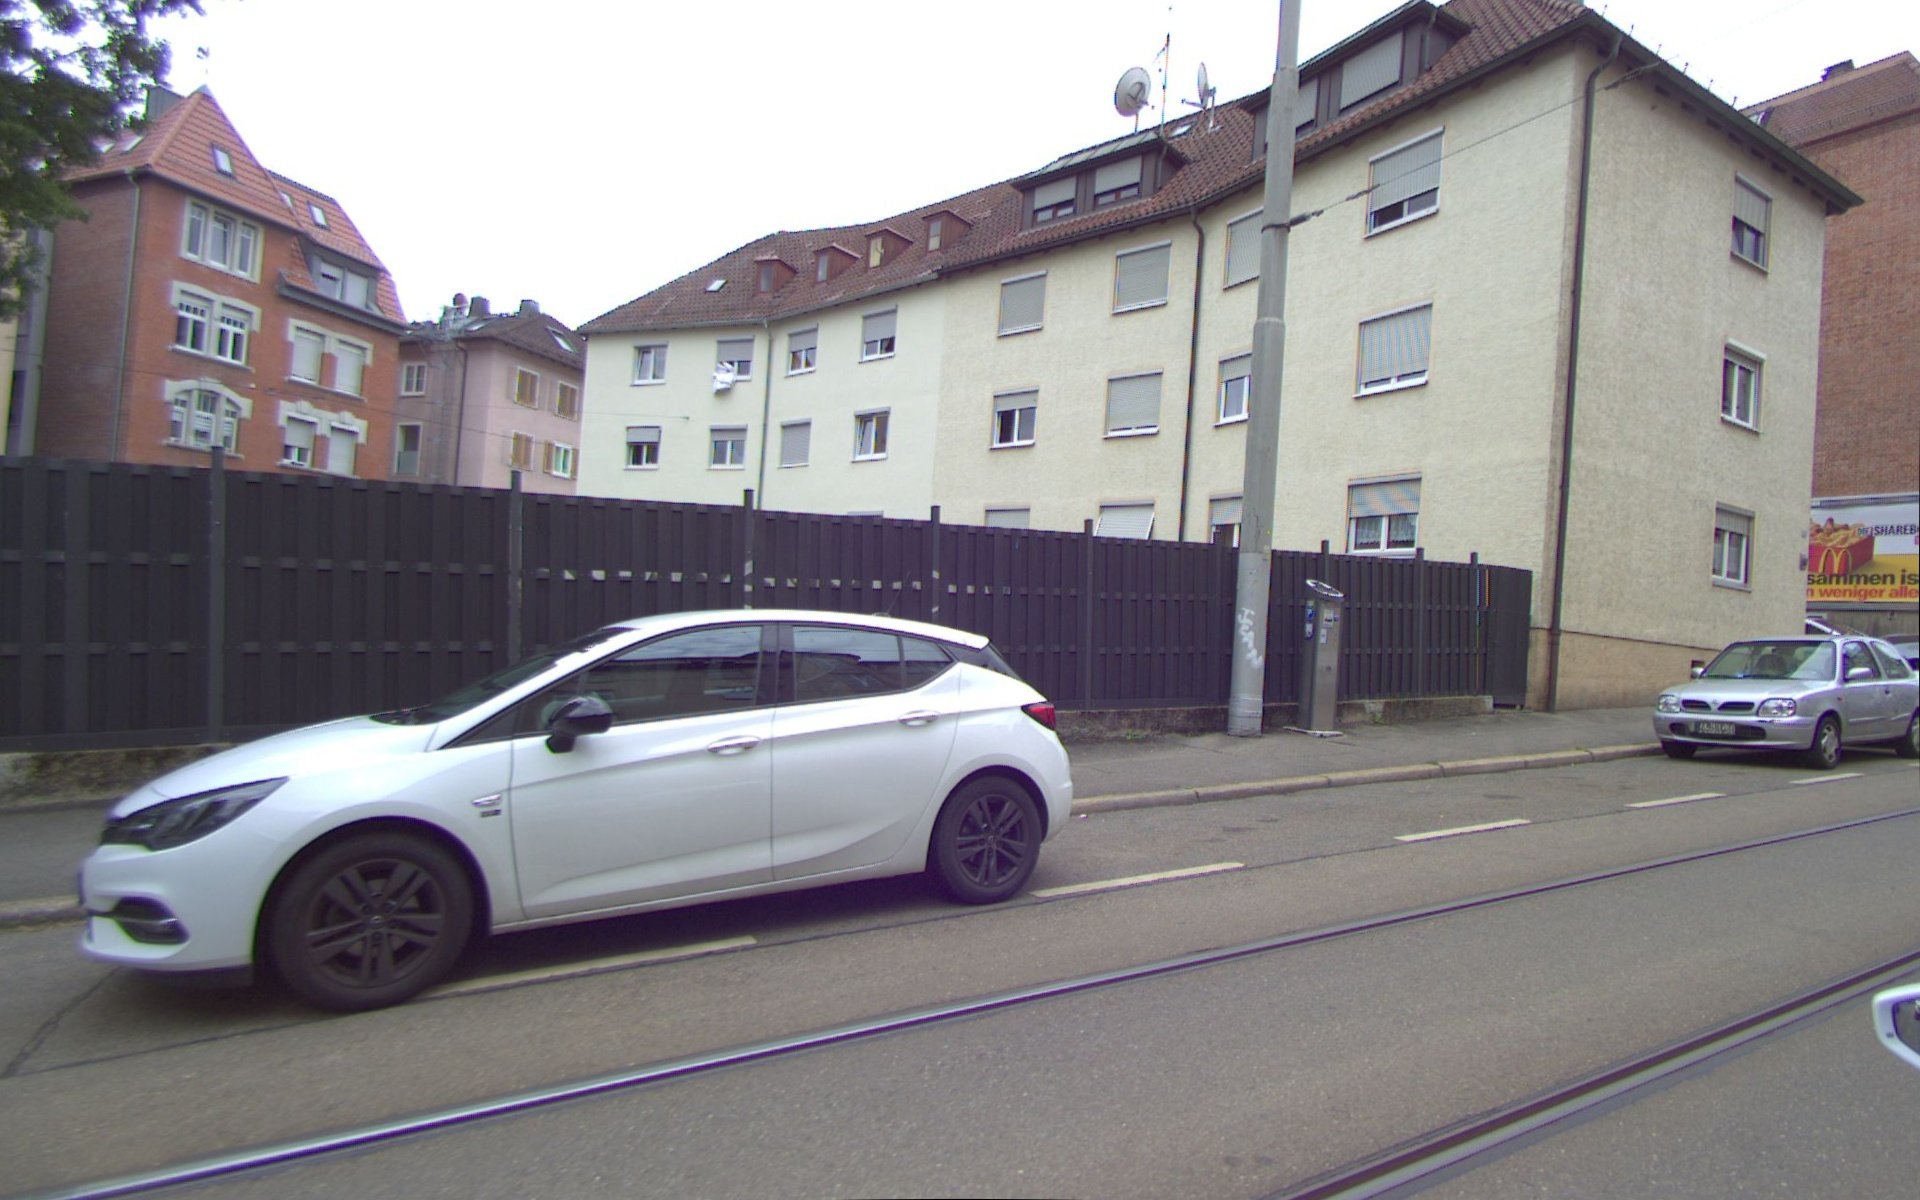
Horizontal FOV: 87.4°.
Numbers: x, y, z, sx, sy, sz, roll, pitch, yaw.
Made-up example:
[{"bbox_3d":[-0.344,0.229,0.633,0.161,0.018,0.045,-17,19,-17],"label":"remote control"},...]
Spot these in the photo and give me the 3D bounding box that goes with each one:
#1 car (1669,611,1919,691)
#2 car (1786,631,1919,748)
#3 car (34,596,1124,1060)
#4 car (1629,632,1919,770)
[{"bbox_3d":[21.572,1.264,25.832,1.920,1.842,5.144,1,-2,-33],"label":"car"},{"bbox_3d":[13.602,1.173,14.025,4.576,1.447,1.818,1,-3,-32],"label":"car"},{"bbox_3d":[-1.407,0.775,4.917,4.262,1.421,1.711,1,-3,-30],"label":"car"},{"bbox_3d":[9.738,1.096,11.776,3.761,1.386,1.594,1,-3,-29],"label":"car"}]
